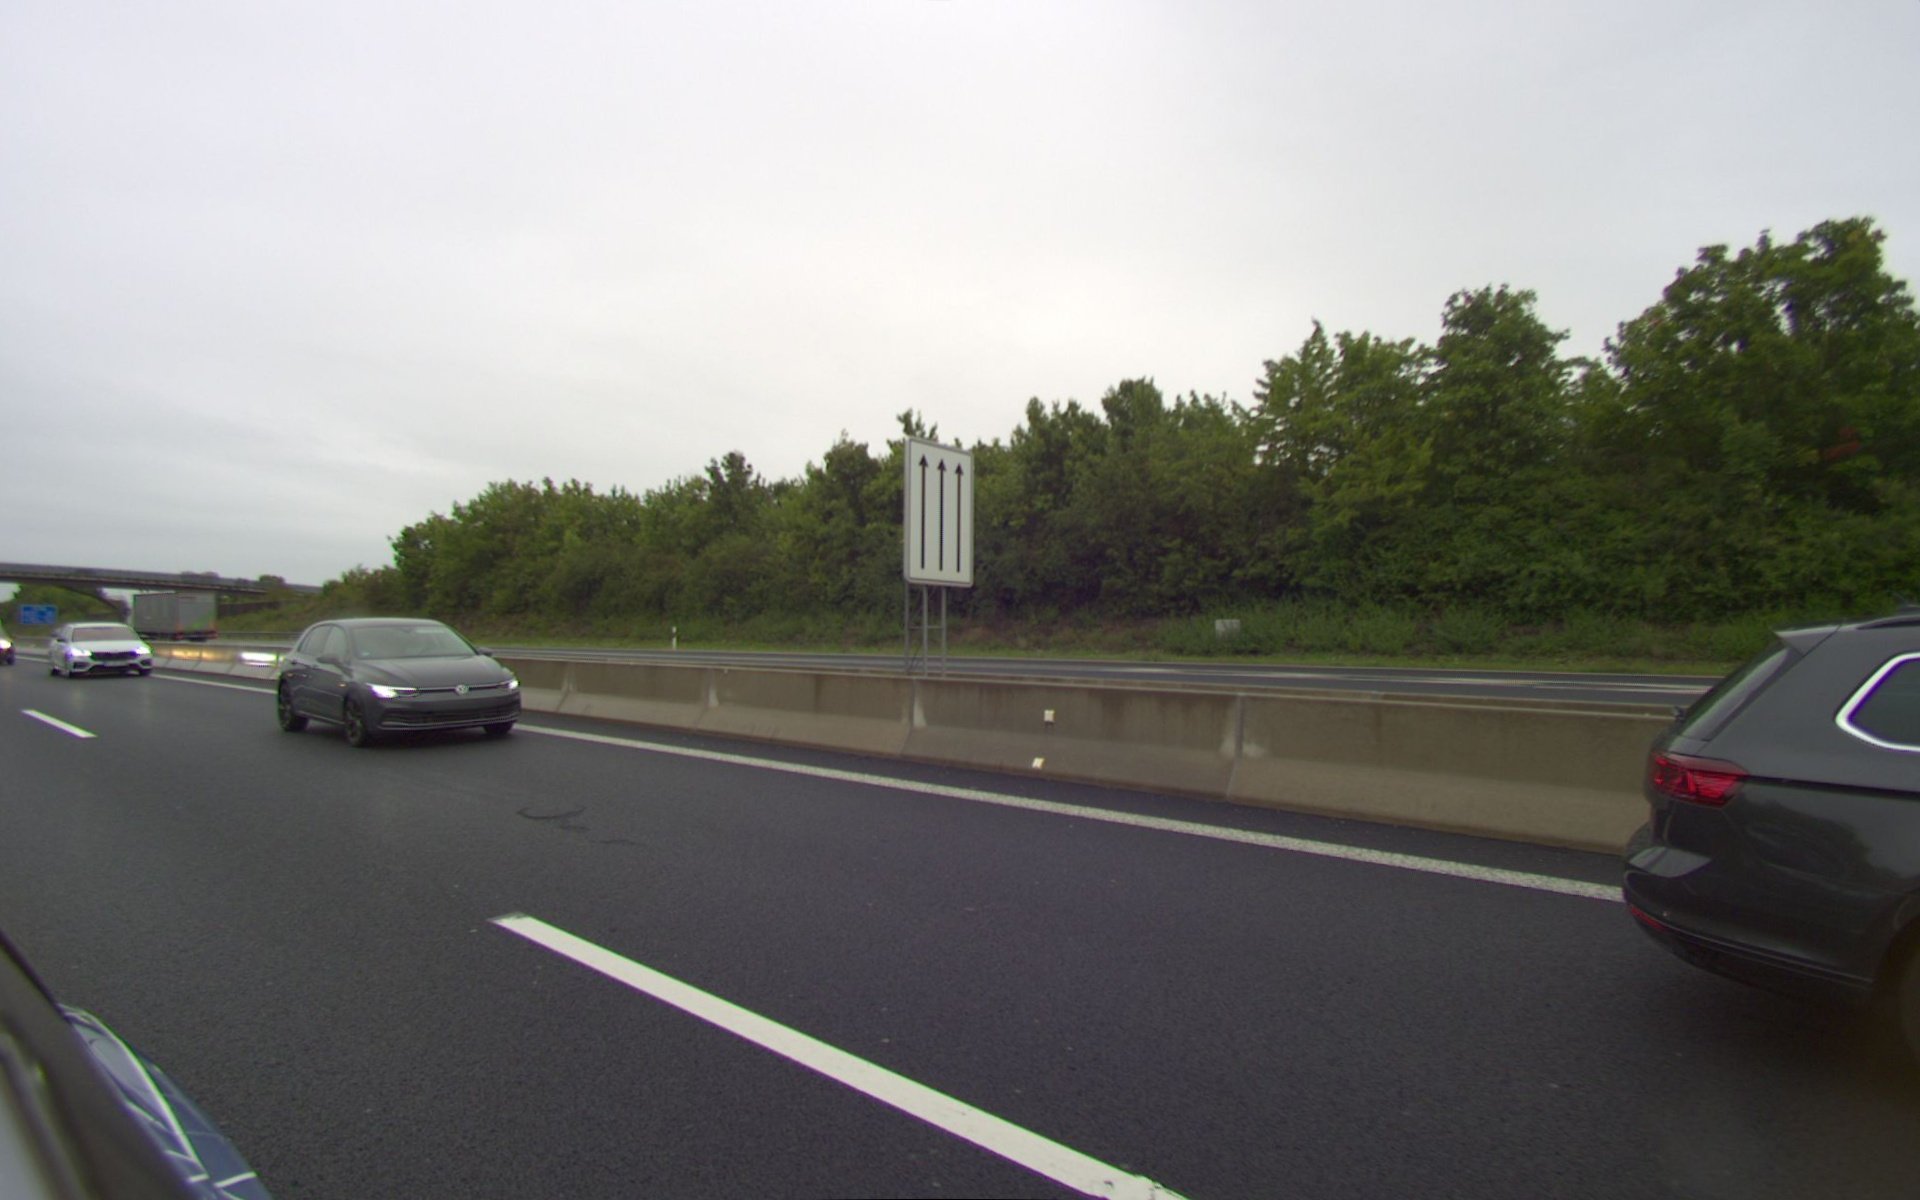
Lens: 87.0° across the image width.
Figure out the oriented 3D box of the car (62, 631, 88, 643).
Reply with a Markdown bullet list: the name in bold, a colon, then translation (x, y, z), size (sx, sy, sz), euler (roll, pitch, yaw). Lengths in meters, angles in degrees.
- **car**: translation (-98.969, 4.131, 113.138), size (3.920, 1.304, 1.671), euler (-2, -2, 40)

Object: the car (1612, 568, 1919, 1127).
- **car**: translation (4.501, 0.640, 2.300), size (4.849, 1.508, 1.880), euler (-2, -2, 41)

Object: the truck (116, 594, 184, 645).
- **truck**: translation (-68.395, 1.664, 85.414), size (7.436, 4.114, 3.226), euler (-2, -2, 41)

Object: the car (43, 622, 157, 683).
- **car**: translation (-23.682, 1.395, 27.825), size (4.113, 1.518, 1.880), euler (-2, -2, 42)

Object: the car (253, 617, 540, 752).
- **car**: translation (-7.290, 0.951, 12.902), size (4.458, 1.416, 1.880), euler (-2, -2, 42)

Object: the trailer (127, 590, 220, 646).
- **trailer**: translation (-62.710, 1.505, 80.469), size (13.837, 4.114, 3.226), euler (-2, -2, 41)

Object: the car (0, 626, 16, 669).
- **car**: translation (-35.627, 1.717, 36.541), size (4.112, 1.518, 1.880), euler (-2, -2, 42)
